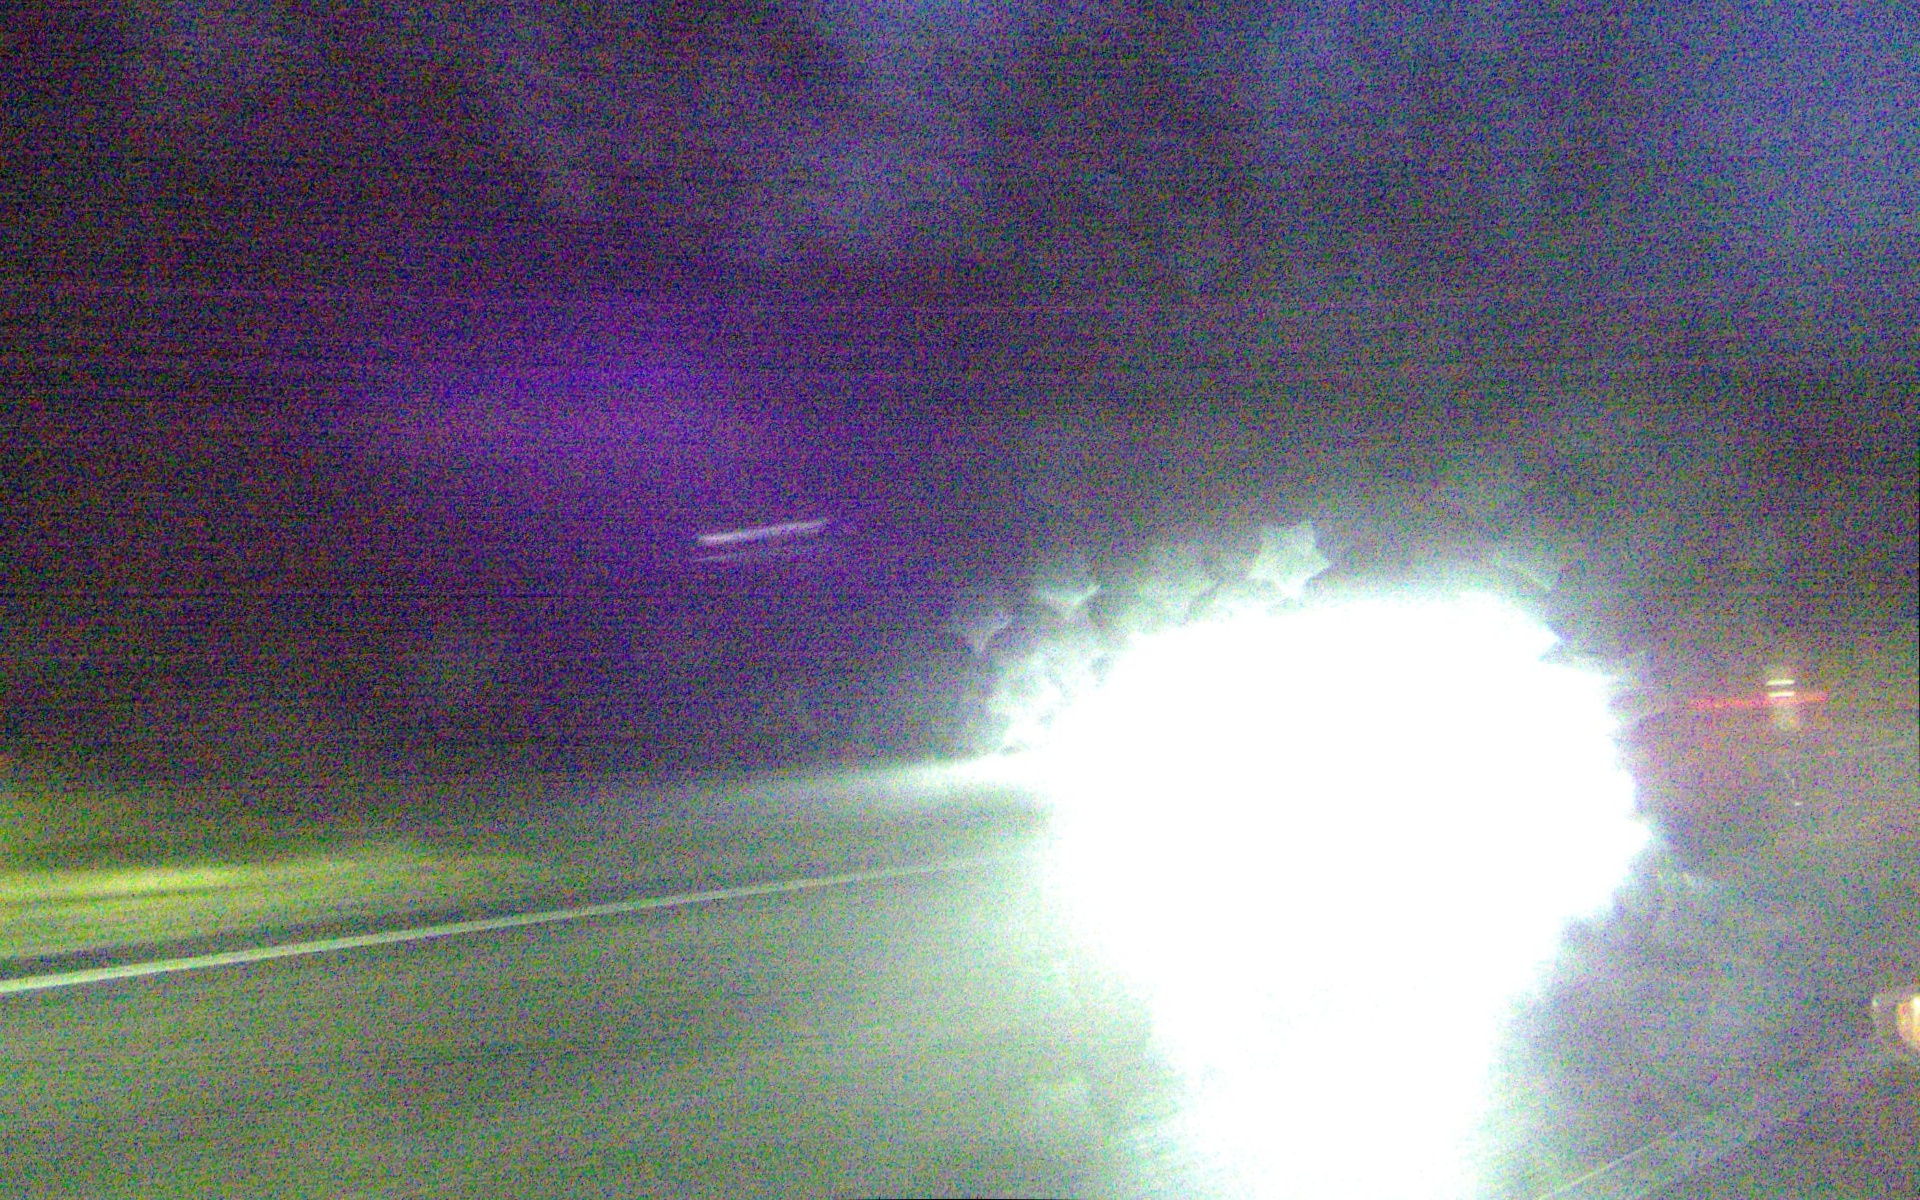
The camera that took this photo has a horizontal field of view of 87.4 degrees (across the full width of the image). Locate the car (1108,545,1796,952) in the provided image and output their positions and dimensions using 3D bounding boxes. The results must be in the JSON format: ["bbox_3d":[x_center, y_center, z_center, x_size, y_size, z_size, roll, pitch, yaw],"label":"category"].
[{"bbox_3d":[3.084,0.690,6.174,3.953,1.751,1.937,2,-1,-30],"label":"car"}]
